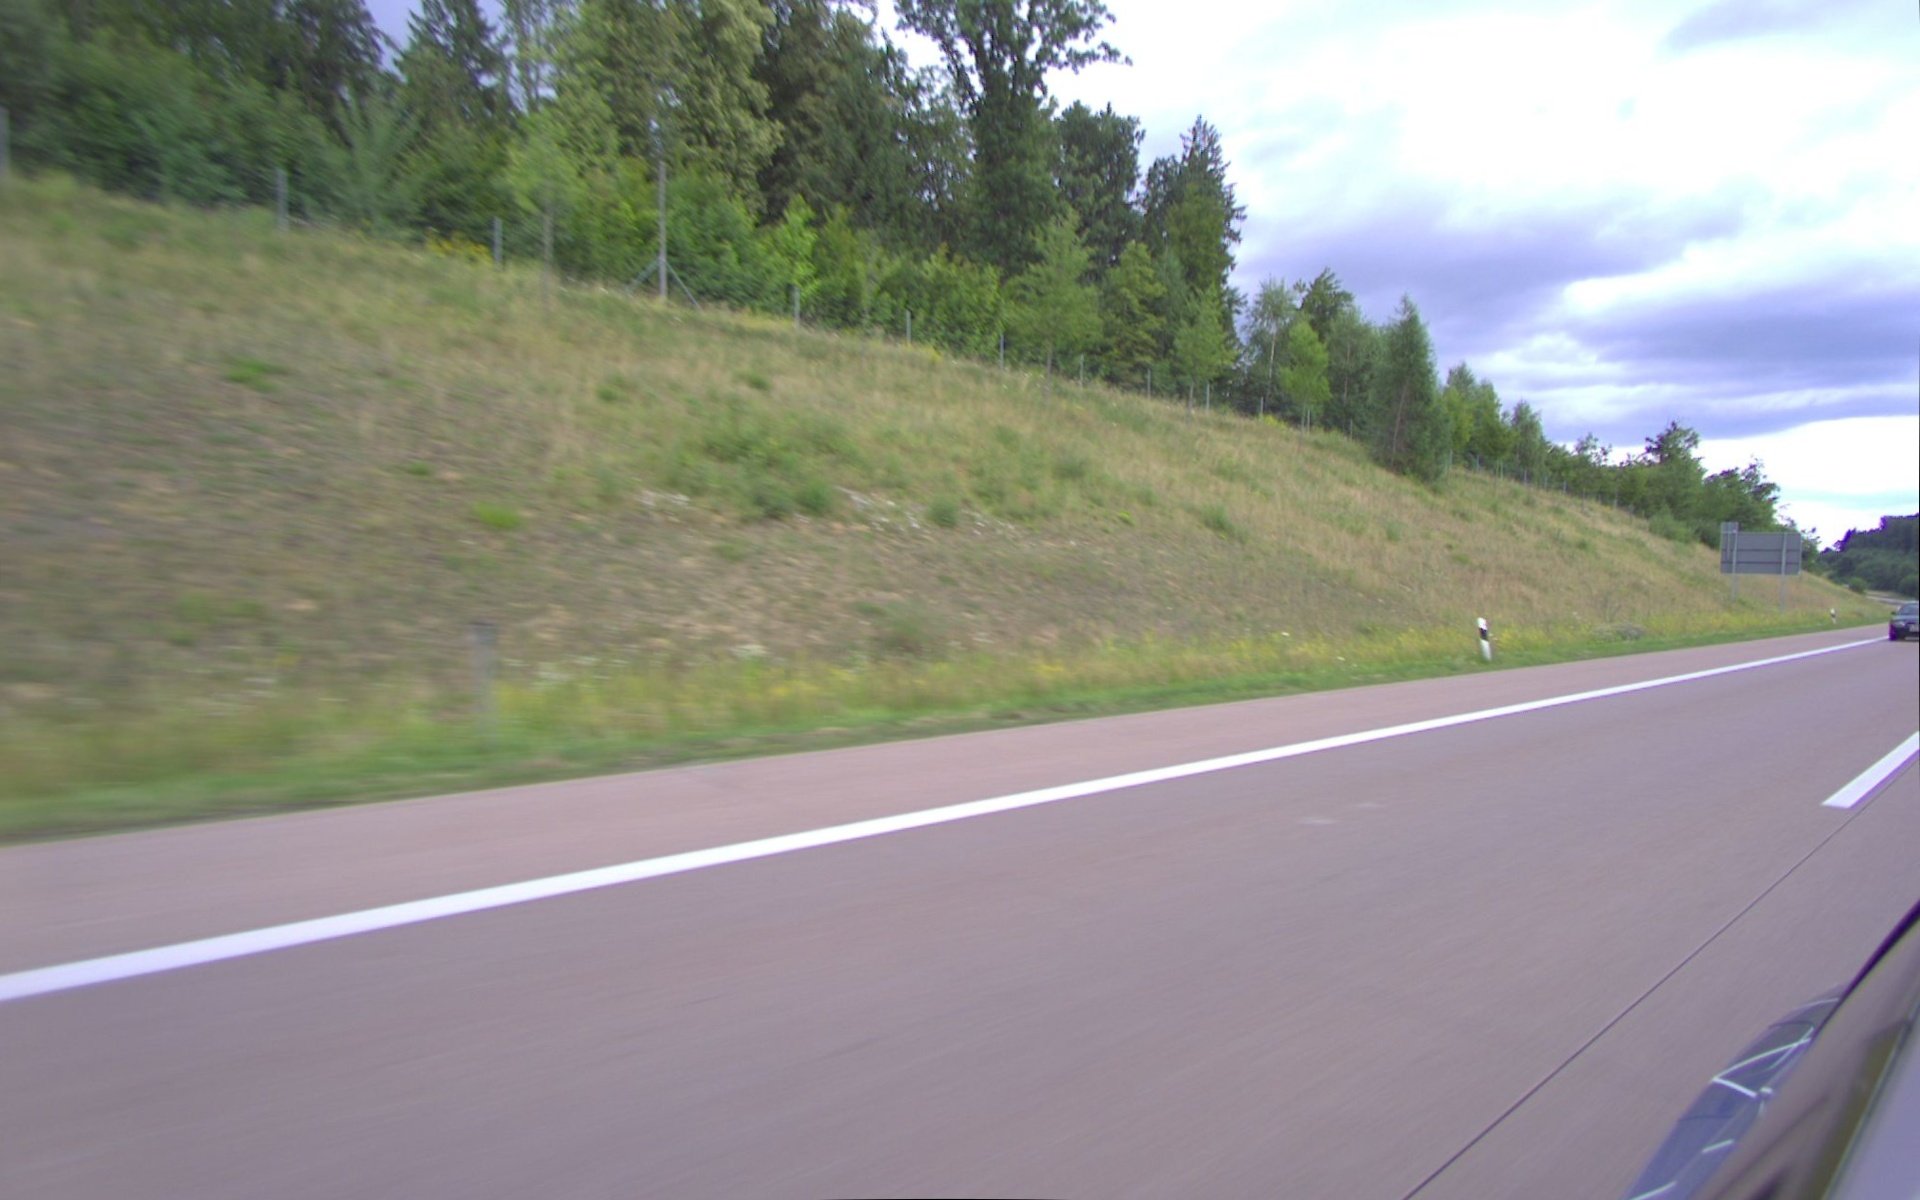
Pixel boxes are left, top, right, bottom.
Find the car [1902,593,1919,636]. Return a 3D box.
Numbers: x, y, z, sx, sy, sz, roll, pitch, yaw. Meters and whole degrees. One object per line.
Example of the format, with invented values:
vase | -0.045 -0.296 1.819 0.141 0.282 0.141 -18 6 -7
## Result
car | 35.410 0.512 36.576 4.161 1.420 1.674 -2 2 -42
